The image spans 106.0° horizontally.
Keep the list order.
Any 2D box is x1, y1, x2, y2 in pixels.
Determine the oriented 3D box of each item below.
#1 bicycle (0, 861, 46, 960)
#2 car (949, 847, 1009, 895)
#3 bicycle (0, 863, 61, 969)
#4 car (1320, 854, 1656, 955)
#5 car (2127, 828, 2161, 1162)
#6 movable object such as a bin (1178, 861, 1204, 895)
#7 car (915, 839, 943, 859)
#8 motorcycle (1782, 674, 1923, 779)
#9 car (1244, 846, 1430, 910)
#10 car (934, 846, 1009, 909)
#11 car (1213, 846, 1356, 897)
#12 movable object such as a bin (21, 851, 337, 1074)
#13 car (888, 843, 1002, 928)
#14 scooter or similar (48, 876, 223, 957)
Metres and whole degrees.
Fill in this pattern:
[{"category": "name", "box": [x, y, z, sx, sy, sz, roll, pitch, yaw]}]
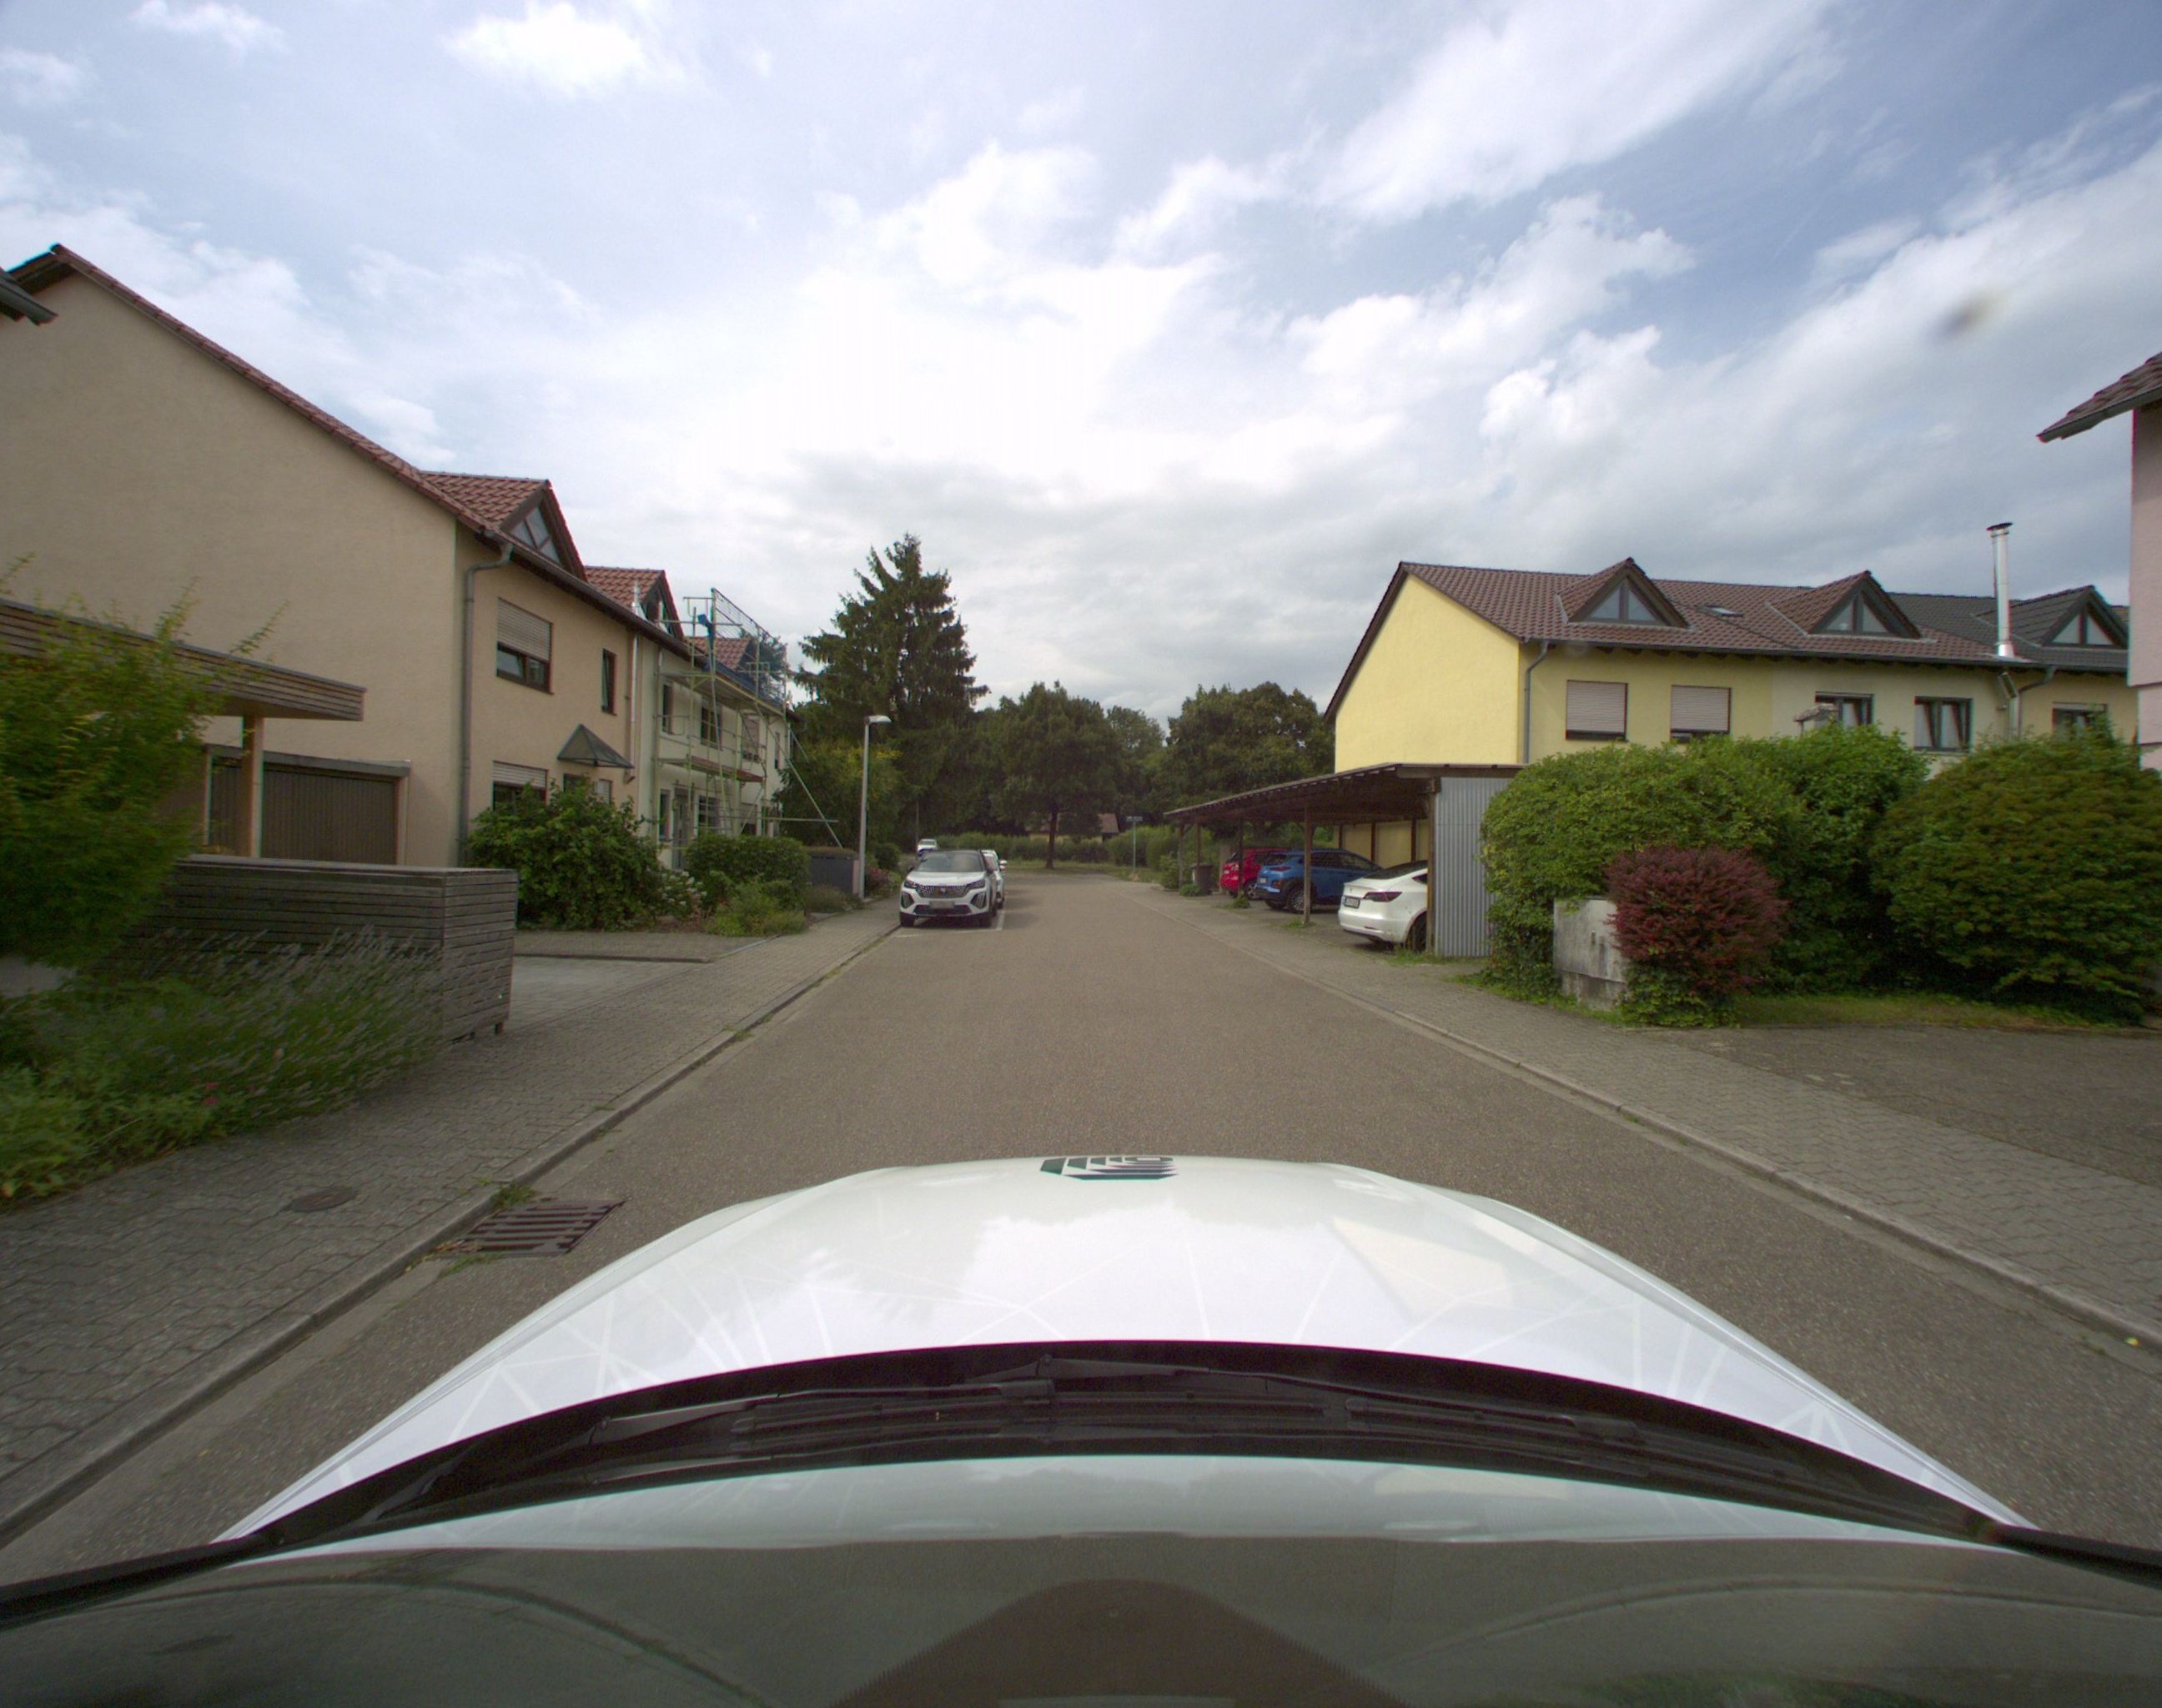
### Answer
[{"category": "bicycle", "box": [-11.455, 0.546, 8.131, 1.921, 0.952, 0.357, 0, 0, 4]}, {"category": "car", "box": [-3.452, 0.528, 28.214, 1.788, 1.531, 4.134, 0, 0, -4]}, {"category": "bicycle", "box": [-10.729, 0.554, 7.609, 1.924, 0.952, 0.357, 1, 0, 0]}, {"category": "car", "box": [6.337, 0.746, 12.986, 4.445, 1.433, 2.023, 0, 0, -7]}, {"category": "car", "box": [7.230, 0.673, 3.136, 4.262, 1.560, 1.932, 0, 0, -4]}, {"category": "movable object such as a bin", "box": [3.586, 0.780, 26.540, 0.698, 1.072, 0.710, 0, 0, -8]}, {"category": "car", "box": [-13.597, -0.443, 73.246, 1.934, 1.660, 4.335, 1, 1, -4]}, {"category": "motorcycle", "box": [10.597, -1.710, 11.249, 0.353, 1.231, 1.474, 1, 1, -10]}, {"category": "car", "box": [6.376, 0.584, 20.546, 4.043, 1.522, 1.945, 0, 0, -8]}, {"category": "car", "box": [-2.944, 0.566, 22.787, 1.807, 1.562, 4.840, 0, 0, -5]}, {"category": "car", "box": [6.315, 0.530, 25.473, 3.953, 1.540, 1.835, 0, 0, -7]}, {"category": "movable object such as a bin", "box": [-5.814, 0.641, 5.346, 0.948, 1.312, 0.999, 0, 0, -5]}, {"category": "car", "box": [-2.742, 0.568, 17.394, 1.930, 1.556, 4.628, 0, 0, -4]}, {"category": "scooter or similar", "box": [-9.913, 0.644, 8.558, 1.300, 0.797, 0.362, 0, 0, -5]}]
